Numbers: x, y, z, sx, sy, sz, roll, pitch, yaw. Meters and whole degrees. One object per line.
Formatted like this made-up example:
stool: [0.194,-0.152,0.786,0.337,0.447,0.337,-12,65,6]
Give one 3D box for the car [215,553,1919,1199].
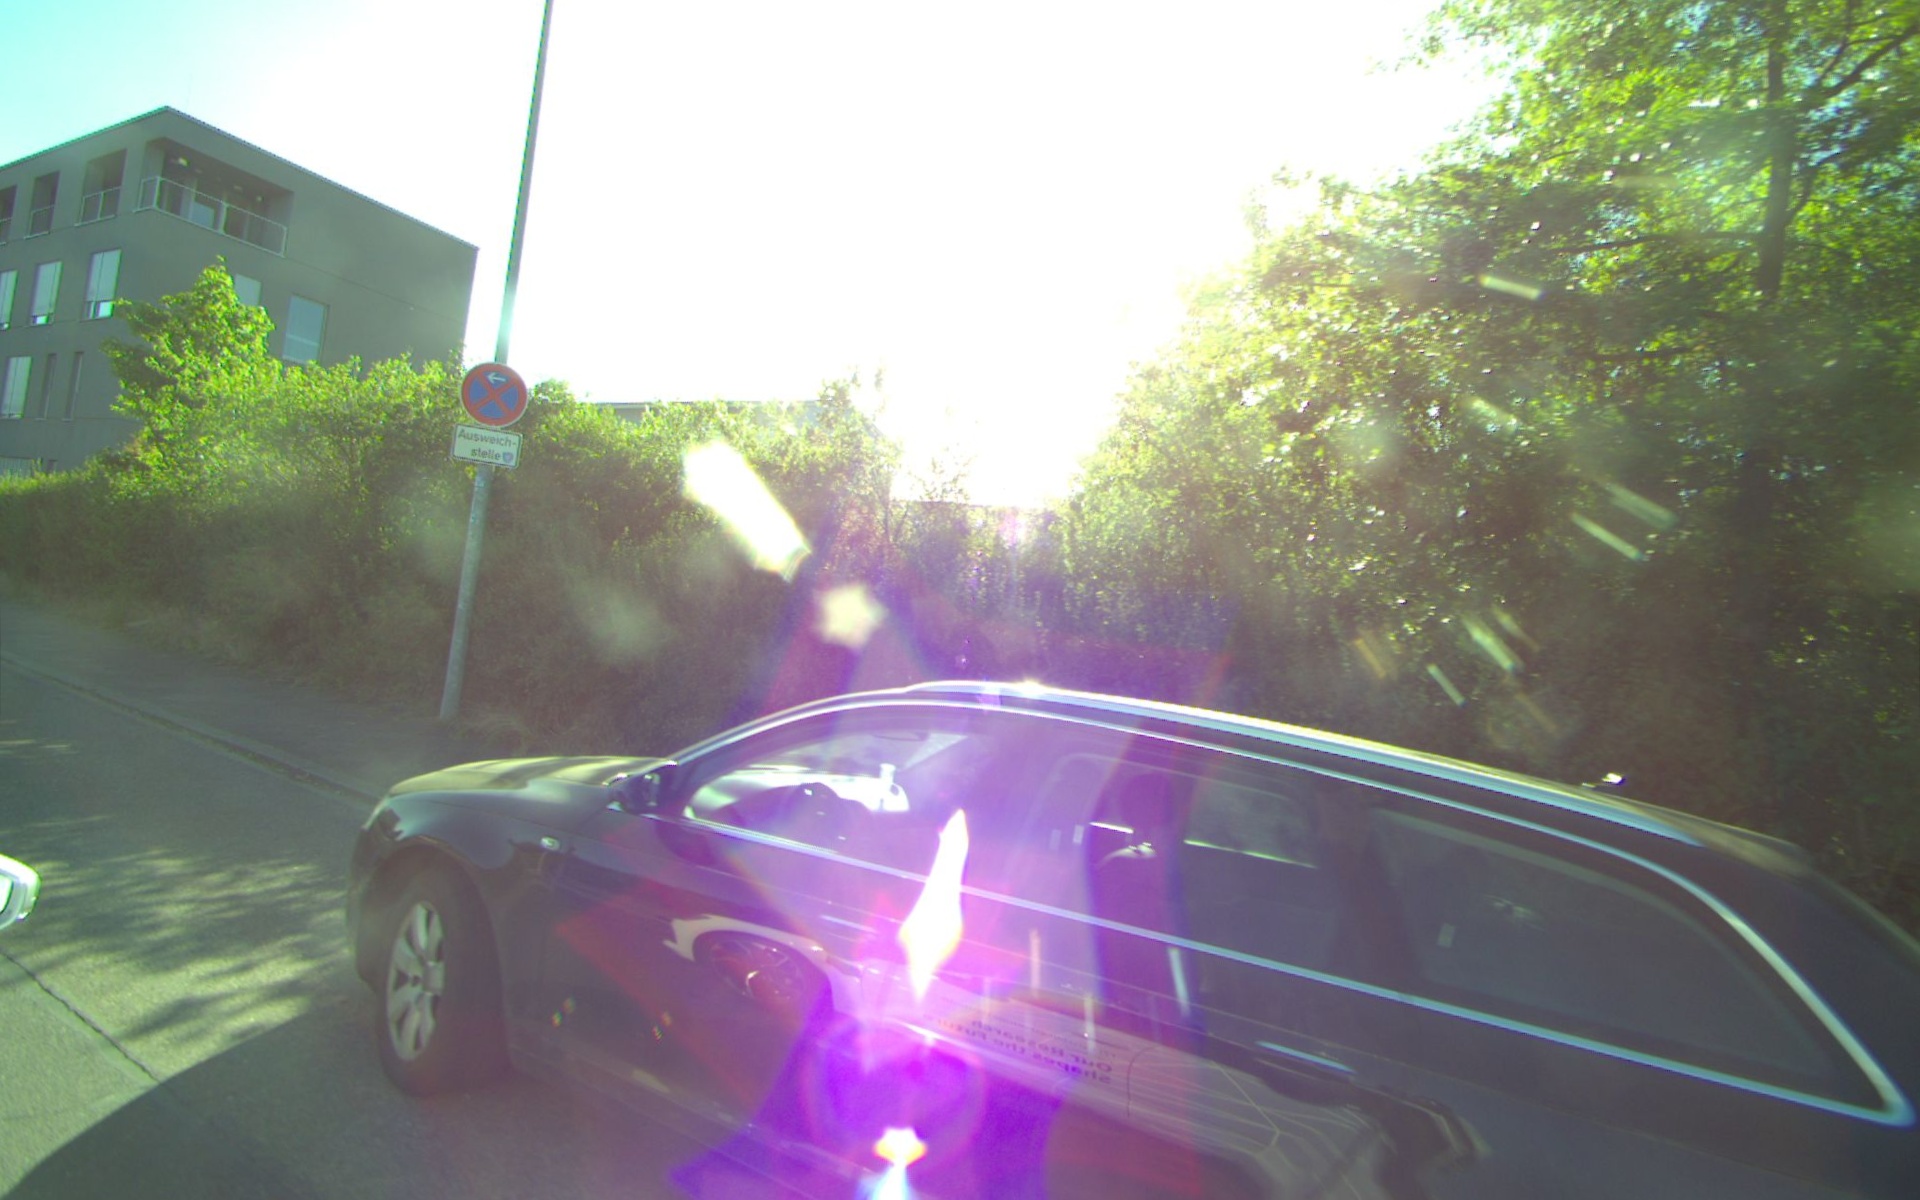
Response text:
car: [0.026,0.908,2.965,4.577,1.428,1.760,7,-4,30]
